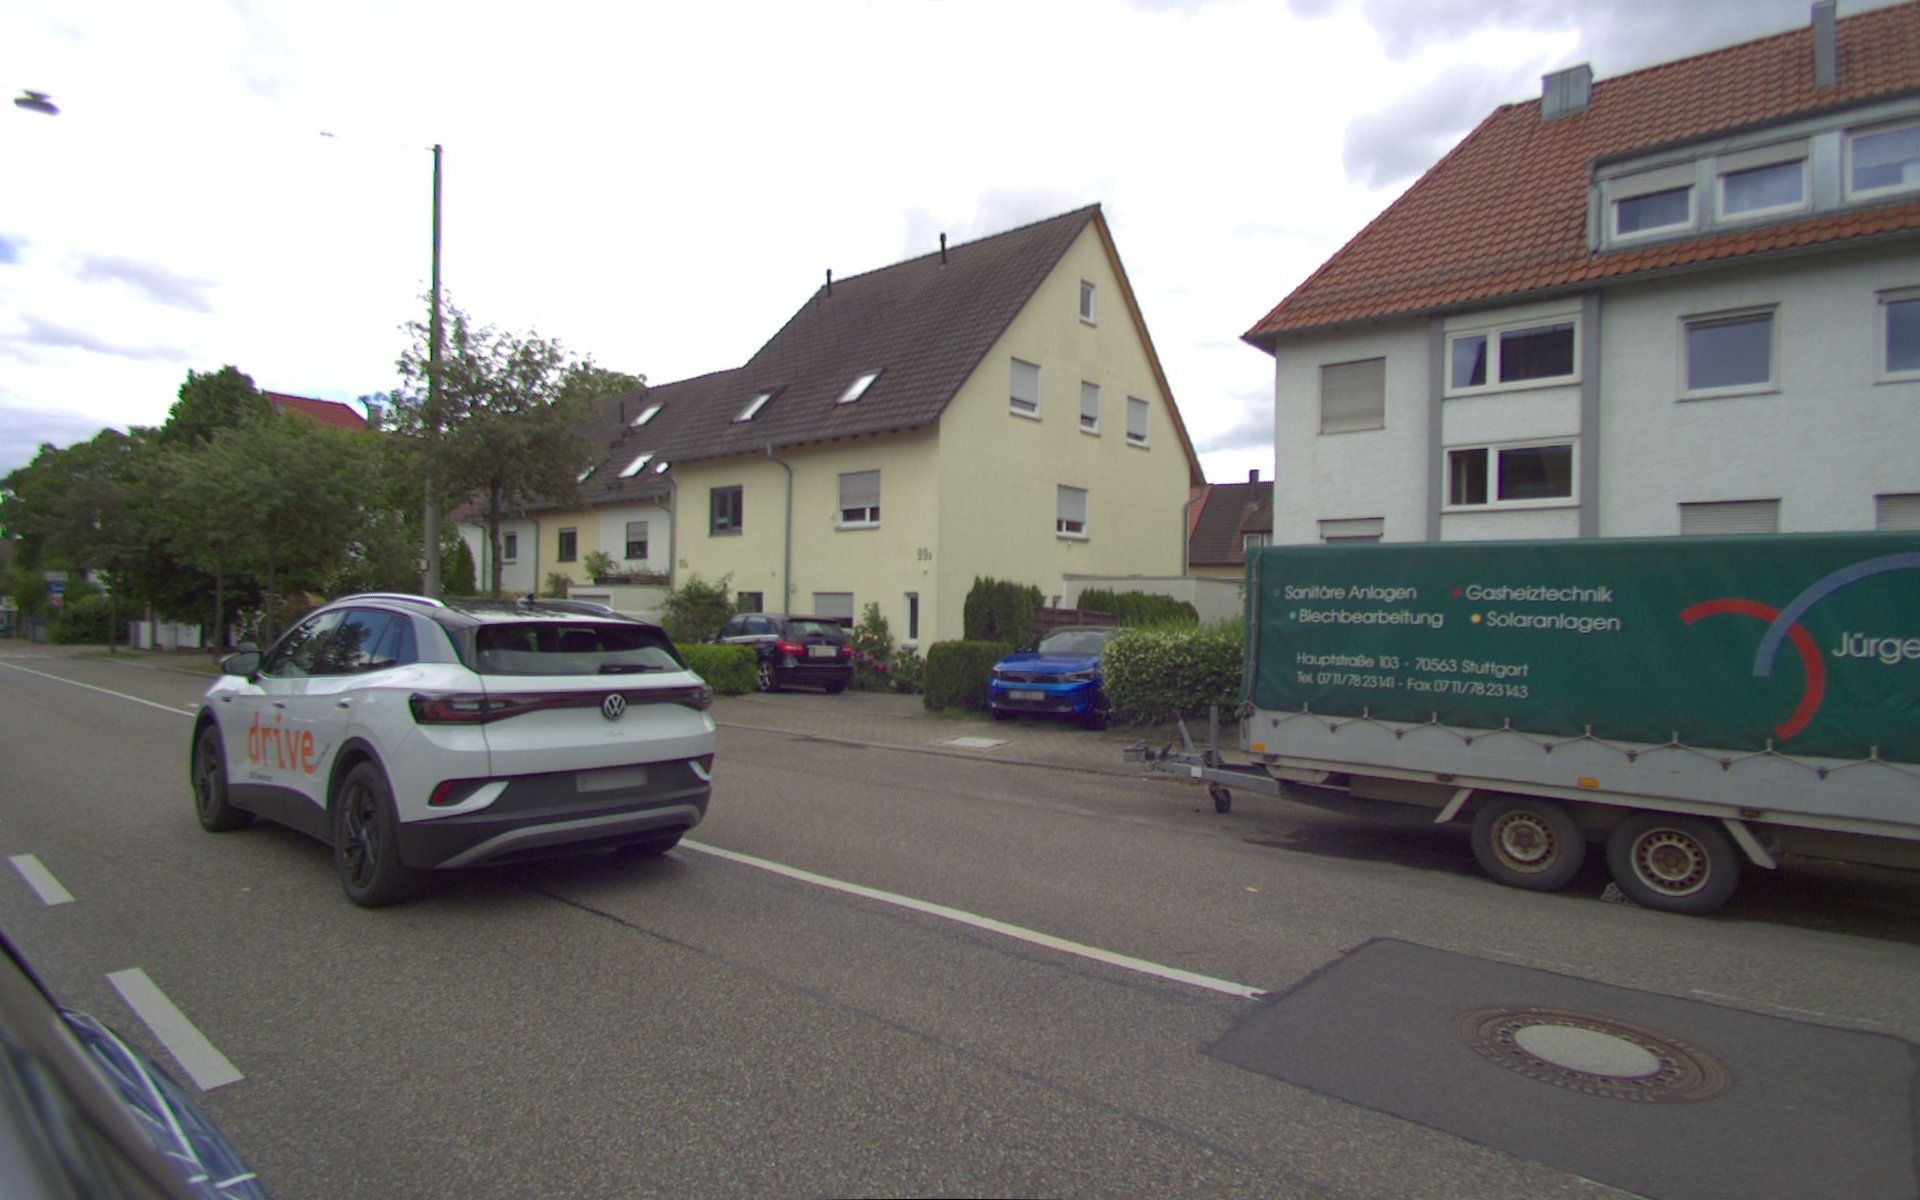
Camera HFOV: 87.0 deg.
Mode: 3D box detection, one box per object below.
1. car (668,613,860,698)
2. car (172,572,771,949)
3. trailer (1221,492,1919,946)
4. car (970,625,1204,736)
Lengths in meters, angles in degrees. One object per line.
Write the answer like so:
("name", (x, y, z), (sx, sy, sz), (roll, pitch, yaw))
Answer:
("car", (-3.968, 1.067, 20.168), (3.915, 1.533, 1.729), (-1, -4, 43))
("car", (-3.297, 0.741, 6.433), (4.295, 1.616, 1.803), (-1, -3, 40))
("trailer", (4.160, 0.591, 6.341), (4.421, 2.104, 2.133), (-1, -2, 40))
("car", (1.983, 1.066, 14.779), (1.726, 1.381, 3.951), (-1, -2, 36))
